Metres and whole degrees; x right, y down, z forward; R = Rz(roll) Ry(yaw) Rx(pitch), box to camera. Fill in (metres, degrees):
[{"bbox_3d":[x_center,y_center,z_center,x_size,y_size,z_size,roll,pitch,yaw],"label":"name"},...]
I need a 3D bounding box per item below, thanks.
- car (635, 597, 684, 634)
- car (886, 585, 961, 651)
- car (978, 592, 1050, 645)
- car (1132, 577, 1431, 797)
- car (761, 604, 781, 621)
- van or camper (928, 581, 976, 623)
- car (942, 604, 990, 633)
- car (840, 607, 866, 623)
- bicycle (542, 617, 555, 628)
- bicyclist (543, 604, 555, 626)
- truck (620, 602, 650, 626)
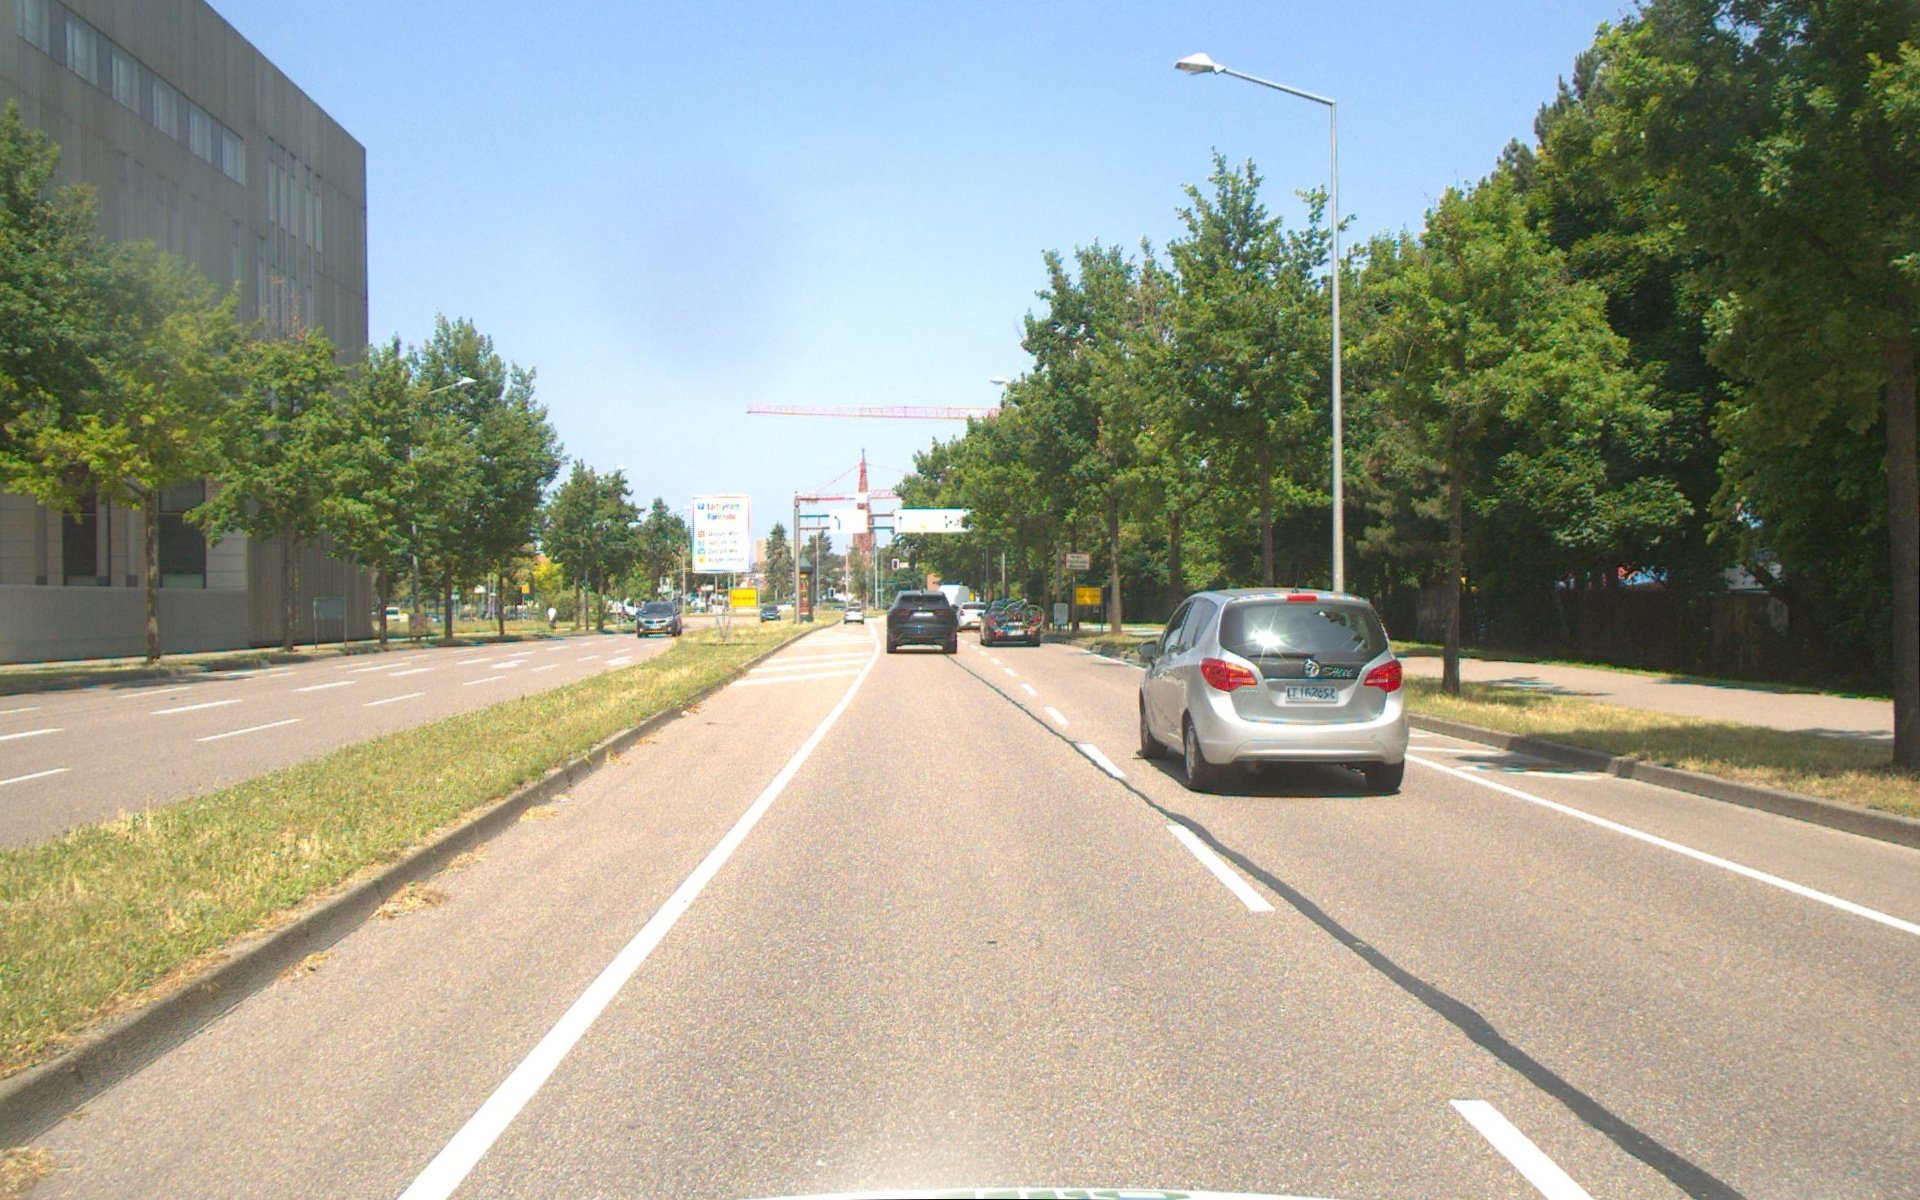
[{"bbox_3d":[-13.030,0.635,71.893,1.674,1.497,3.937,-2,0,-5],"label":"car"},{"bbox_3d":[-1.013,0.472,45.170,1.957,1.719,4.032,0,0,-2],"label":"car"},{"bbox_3d":[1.649,0.553,51.797,1.973,1.544,4.459,-1,0,-1],"label":"car"},{"bbox_3d":[2.609,0.649,14.323,1.756,1.640,3.890,0,0,-1],"label":"car"},{"bbox_3d":[-18.593,1.236,162.601,1.856,1.639,4.529,-1,0,-5],"label":"car"},{"bbox_3d":[-0.482,0.136,95.560,2.444,2.331,4.917,-1,0,-4],"label":"van or camper"},{"bbox_3d":[0.270,0.926,82.128,1.624,1.380,4.450,-1,0,-9],"label":"car"},{"bbox_3d":[-9.278,1.299,143.479,1.956,1.344,3.993,0,0,-7],"label":"car"},{"bbox_3d":[-28.547,1.579,114.734,0.471,0.728,1.850,-1,0,0],"label":"bicycle"},{"bbox_3d":[-28.555,1.033,114.920,0.610,1.515,0.757,-1,-1,0],"label":"bicyclist"},{"bbox_3d":[-36.209,1.530,184.500,2.587,2.622,6.311,1,0,-5],"label":"truck"}]
